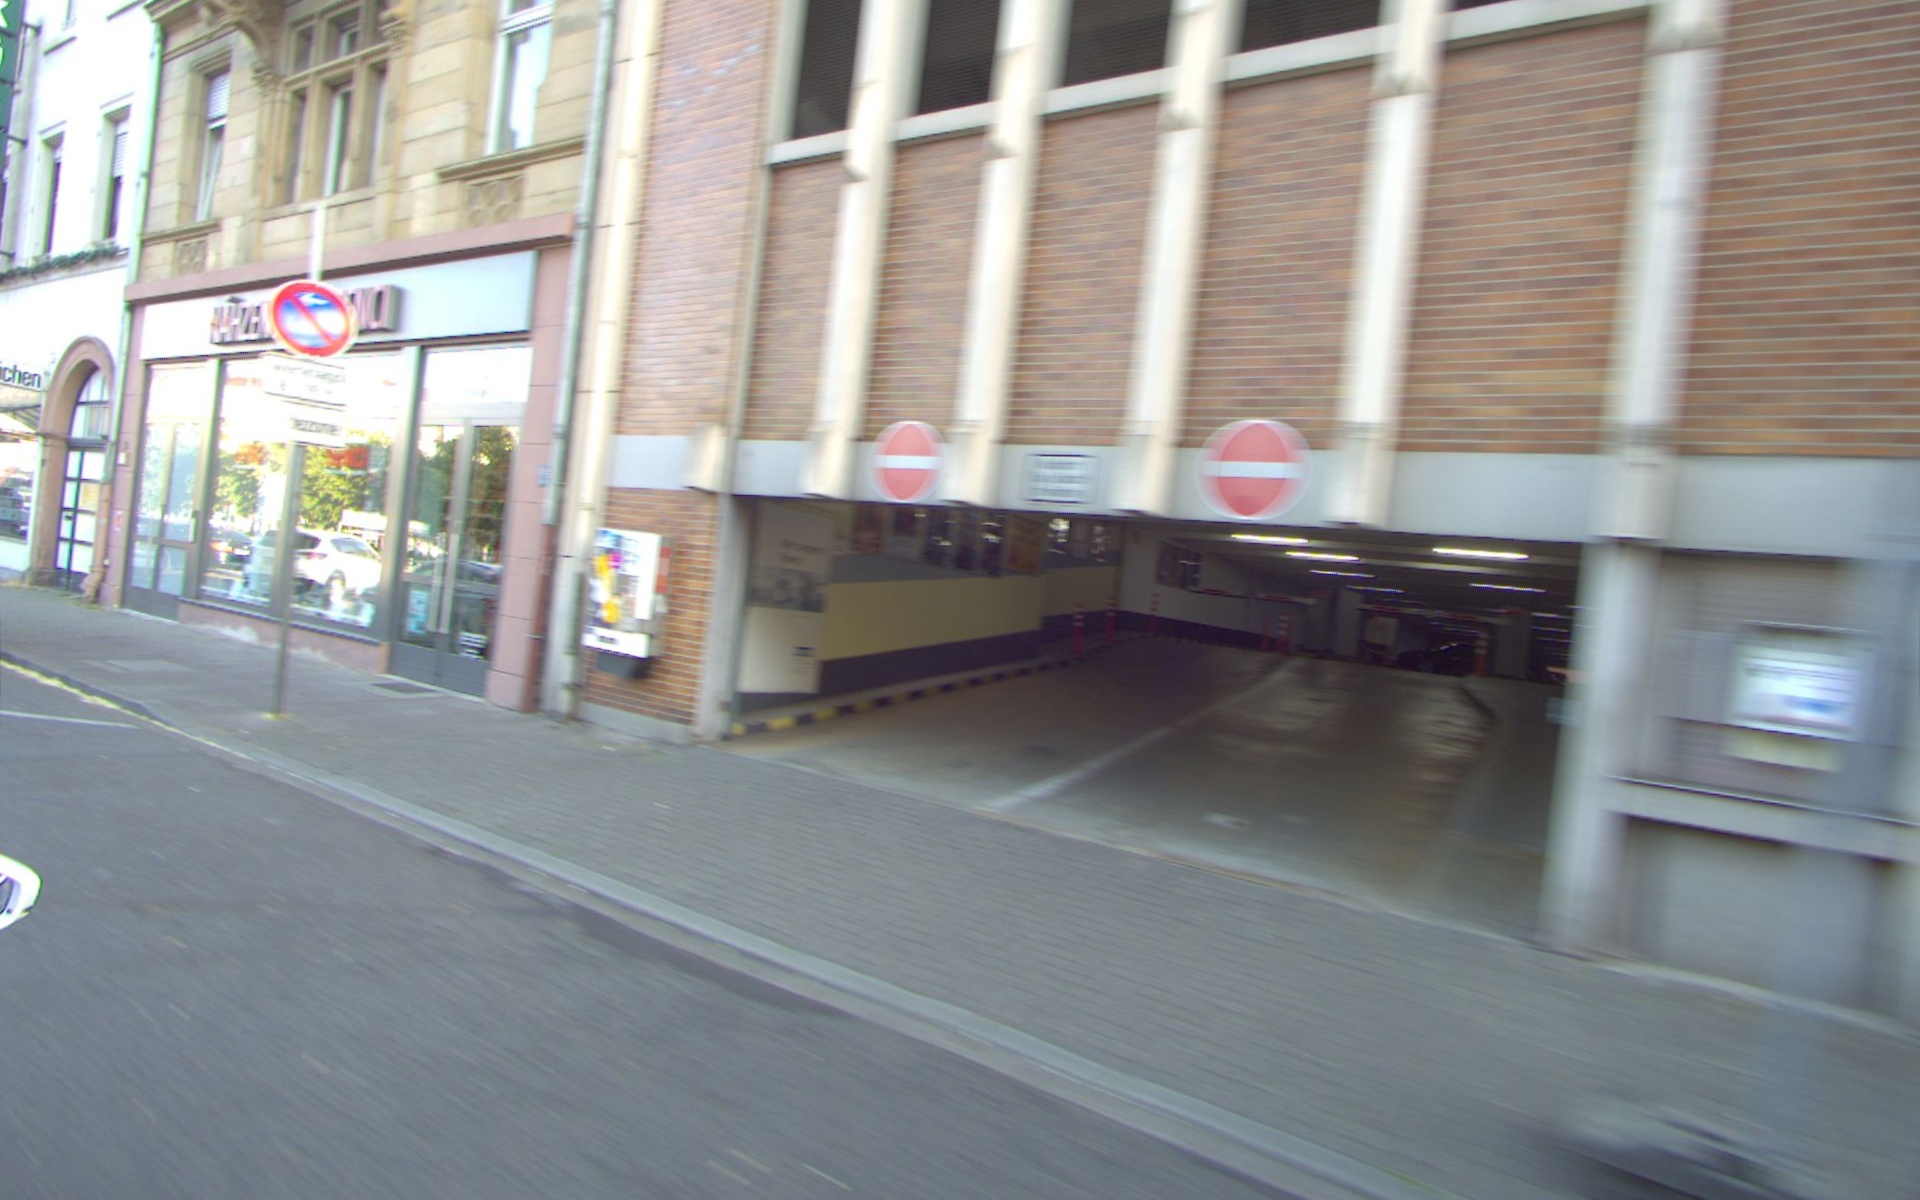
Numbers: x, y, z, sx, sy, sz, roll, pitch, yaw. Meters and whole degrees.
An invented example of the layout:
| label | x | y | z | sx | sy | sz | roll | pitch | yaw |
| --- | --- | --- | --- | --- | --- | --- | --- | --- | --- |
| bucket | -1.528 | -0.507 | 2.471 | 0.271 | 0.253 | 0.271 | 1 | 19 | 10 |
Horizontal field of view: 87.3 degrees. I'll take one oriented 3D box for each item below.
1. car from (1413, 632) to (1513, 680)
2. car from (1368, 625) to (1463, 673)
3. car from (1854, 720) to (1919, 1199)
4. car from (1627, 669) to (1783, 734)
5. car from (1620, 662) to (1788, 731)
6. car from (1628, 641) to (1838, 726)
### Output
| label | x | y | z | sx | sy | sz | roll | pitch | yaw |
| --- | --- | --- | --- | --- | --- | --- | --- | --- | --- |
| car | 20.905 | 2.298 | 41.997 | 1.794 | 1.621 | 3.998 | 7 | -1 | -4 |
| car | 18.924 | 2.005 | 41.992 | 1.794 | 1.621 | 3.998 | 7 | -1 | -4 |
| car | 3.598 | 1.198 | 0.835 | 3.935 | 1.557 | 1.758 | 7 | 2 | 33 |
| car | 25.795 | 3.490 | 34.940 | 1.814 | 1.621 | 3.953 | 7 | -1 | -42 |
| car | 23.986 | 3.103 | 32.528 | 1.814 | 1.621 | 3.953 | 7 | -1 | -42 |
| car | 19.991 | 2.135 | 26.133 | 1.814 | 1.621 | 3.953 | 7 | -1 | -42 |
